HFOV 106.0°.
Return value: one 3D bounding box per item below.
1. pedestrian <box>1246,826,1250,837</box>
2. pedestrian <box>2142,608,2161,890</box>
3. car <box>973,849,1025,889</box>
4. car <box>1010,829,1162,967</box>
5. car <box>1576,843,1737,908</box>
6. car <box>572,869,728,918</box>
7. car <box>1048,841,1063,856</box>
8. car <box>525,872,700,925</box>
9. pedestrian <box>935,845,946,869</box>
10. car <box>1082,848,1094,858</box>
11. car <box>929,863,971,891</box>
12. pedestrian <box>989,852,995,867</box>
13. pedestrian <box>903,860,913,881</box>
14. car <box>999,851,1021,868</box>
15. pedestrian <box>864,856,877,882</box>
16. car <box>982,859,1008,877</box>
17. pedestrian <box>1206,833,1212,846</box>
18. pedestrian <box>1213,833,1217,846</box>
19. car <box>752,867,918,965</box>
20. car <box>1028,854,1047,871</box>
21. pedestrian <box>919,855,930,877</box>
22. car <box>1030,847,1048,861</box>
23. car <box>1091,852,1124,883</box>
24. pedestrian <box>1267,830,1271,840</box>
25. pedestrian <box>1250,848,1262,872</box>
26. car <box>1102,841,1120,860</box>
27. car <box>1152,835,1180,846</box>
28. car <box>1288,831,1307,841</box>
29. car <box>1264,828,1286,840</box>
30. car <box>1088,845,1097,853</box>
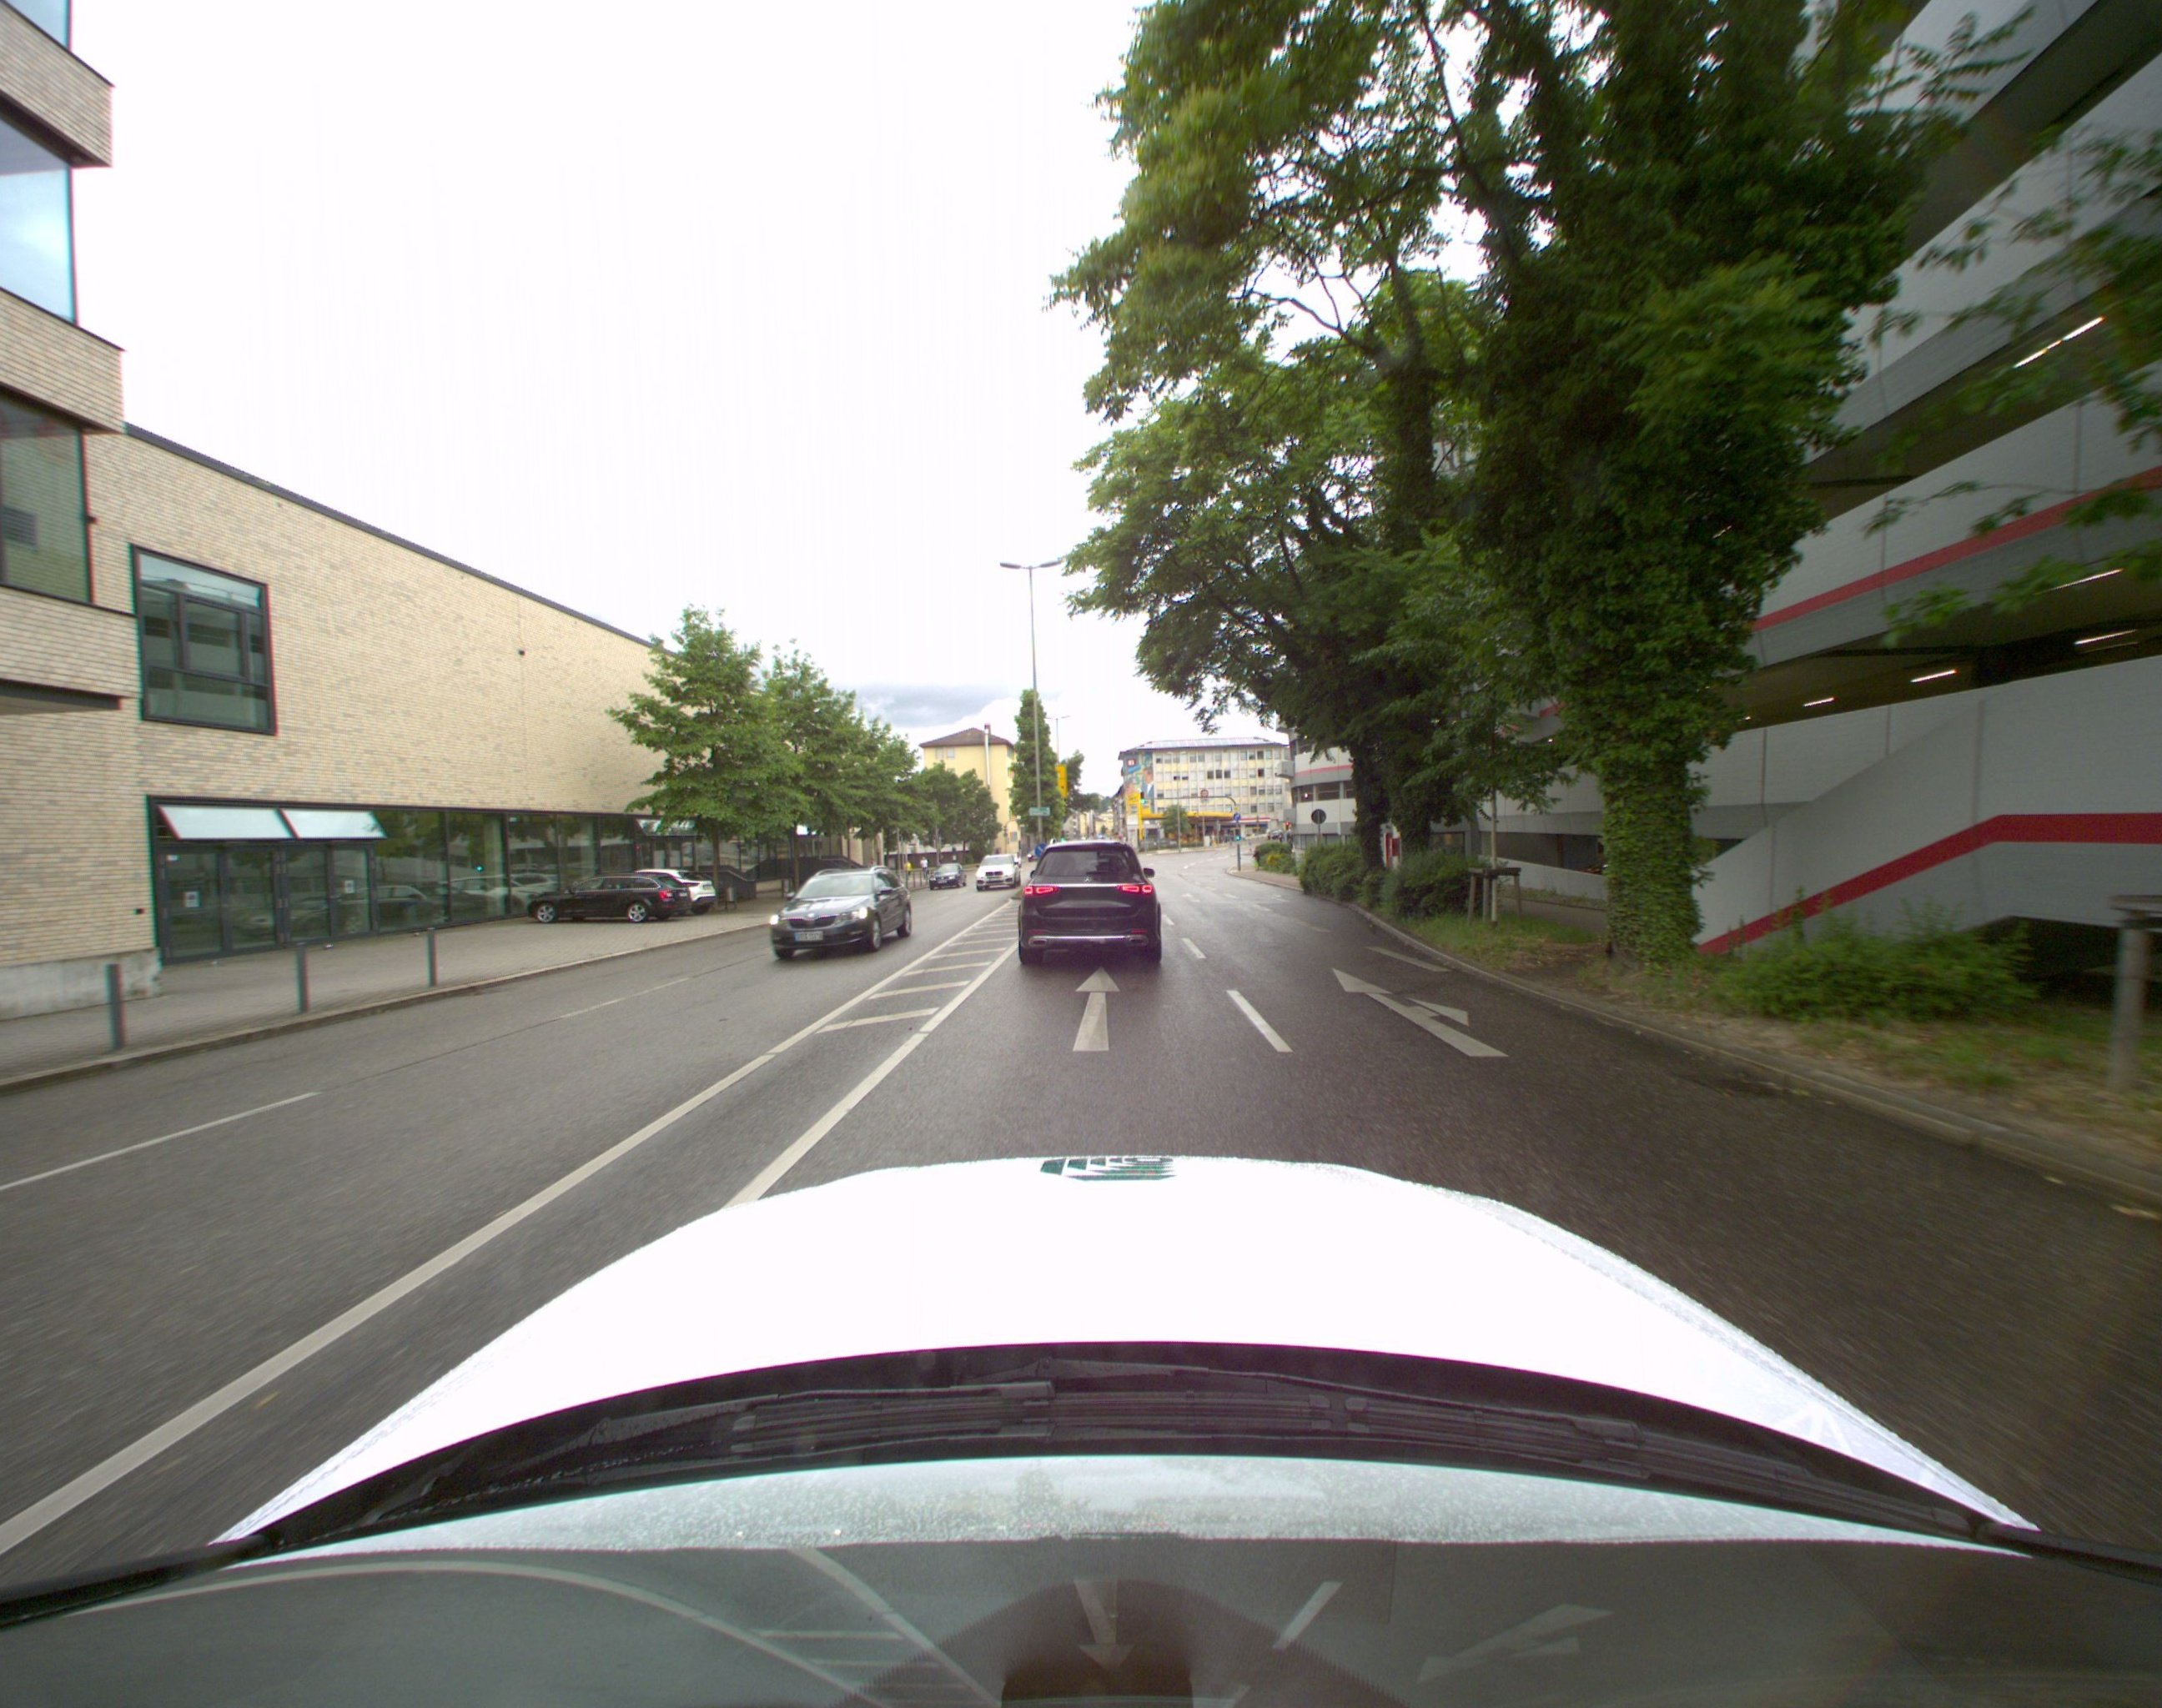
[{"bbox_3d":[26.417,-3.600,128.812,0.521,1.727,0.693,-2,0,28],"label":"pedestrian"},{"bbox_3d":[8.466,-0.808,6.089,0.419,2.154,0.435,-2,-1,6],"label":"pedestrian"},{"bbox_3d":[-4.134,0.721,41.856,1.883,1.811,4.578,-4,0,3],"label":"car"},{"bbox_3d":[0.132,0.604,12.710,1.986,1.800,4.001,0,-1,2],"label":"car"},{"bbox_3d":[16.856,0.622,24.052,3.431,1.783,1.823,-2,0,14],"label":"car"},{"bbox_3d":[-14.382,1.291,27.350,4.158,1.547,2.002,0,-1,3],"label":"car"},{"bbox_3d":[-3.394,-0.709,110.212,1.787,1.854,4.791,-4,0,0],"label":"car"},{"bbox_3d":[-14.286,1.330,25.043,4.169,1.495,1.996,0,-1,-5],"label":"car"},{"bbox_3d":[-10.426,0.235,60.377,0.687,1.757,0.716,-2,0,-9],"label":"pedestrian"},{"bbox_3d":[1.082,-0.140,128.885,1.987,1.614,4.189,0,-1,0],"label":"car"},{"bbox_3d":[-7.619,1.289,47.701,1.740,1.412,3.970,-4,0,0],"label":"car"},{"bbox_3d":[-10.732,0.627,98.482,0.647,1.727,0.628,-3,0,-2],"label":"pedestrian"},{"bbox_3d":[-13.251,1.244,62.363,0.435,1.534,0.548,-3,0,16],"label":"pedestrian"},{"bbox_3d":[-6.873,0.512,79.575,1.727,1.469,4.230,-4,0,-1],"label":"car"},{"bbox_3d":[-13.342,0.949,51.685,0.641,1.666,1.017,0,-1,-4],"label":"pedestrian"},{"bbox_3d":[-7.156,1.148,68.020,1.727,1.393,4.198,-4,0,-1],"label":"car"},{"bbox_3d":[17.897,-2.038,114.010,0.521,1.727,0.693,-2,0,31],"label":"pedestrian"},{"bbox_3d":[18.485,-2.021,112.291,0.570,1.697,0.631,0,-1,3],"label":"pedestrian"},{"bbox_3d":[-4.470,1.050,15.545,1.806,1.462,4.286,-4,-1,-1],"label":"car"},{"bbox_3d":[-4.591,0.923,86.445,1.727,1.625,4.230,-4,0,-1],"label":"car"},{"bbox_3d":[-11.919,0.924,62.097,0.688,1.656,0.612,-3,0,-6],"label":"pedestrian"},{"bbox_3d":[-5.361,-0.041,103.898,1.882,1.586,4.536,-4,0,0],"label":"car"},{"bbox_3d":[1.683,0.835,50.865,1.986,1.800,4.002,0,-1,2],"label":"car"},{"bbox_3d":[31.079,-3.146,134.488,0.478,1.641,0.441,-1,-1,30],"label":"pedestrian"},{"bbox_3d":[12.368,0.420,57.595,0.639,1.710,0.474,-2,-2,38],"label":"pedestrian"},{"bbox_3d":[3.259,-0.387,89.073,1.986,2.014,4.001,0,-1,1],"label":"car"},{"bbox_3d":[12.619,-2.018,120.782,1.747,1.376,3.952,-3,1,-42],"label":"car"},{"bbox_3d":[32.510,-2.667,122.167,1.779,1.525,4.081,0,1,30],"label":"car"},{"bbox_3d":[31.115,-3.242,130.351,1.974,1.706,4.026,-2,1,35],"label":"car"},{"bbox_3d":[2.968,-1.342,208.570,1.985,2.014,4.002,0,-1,3],"label":"car"}]
